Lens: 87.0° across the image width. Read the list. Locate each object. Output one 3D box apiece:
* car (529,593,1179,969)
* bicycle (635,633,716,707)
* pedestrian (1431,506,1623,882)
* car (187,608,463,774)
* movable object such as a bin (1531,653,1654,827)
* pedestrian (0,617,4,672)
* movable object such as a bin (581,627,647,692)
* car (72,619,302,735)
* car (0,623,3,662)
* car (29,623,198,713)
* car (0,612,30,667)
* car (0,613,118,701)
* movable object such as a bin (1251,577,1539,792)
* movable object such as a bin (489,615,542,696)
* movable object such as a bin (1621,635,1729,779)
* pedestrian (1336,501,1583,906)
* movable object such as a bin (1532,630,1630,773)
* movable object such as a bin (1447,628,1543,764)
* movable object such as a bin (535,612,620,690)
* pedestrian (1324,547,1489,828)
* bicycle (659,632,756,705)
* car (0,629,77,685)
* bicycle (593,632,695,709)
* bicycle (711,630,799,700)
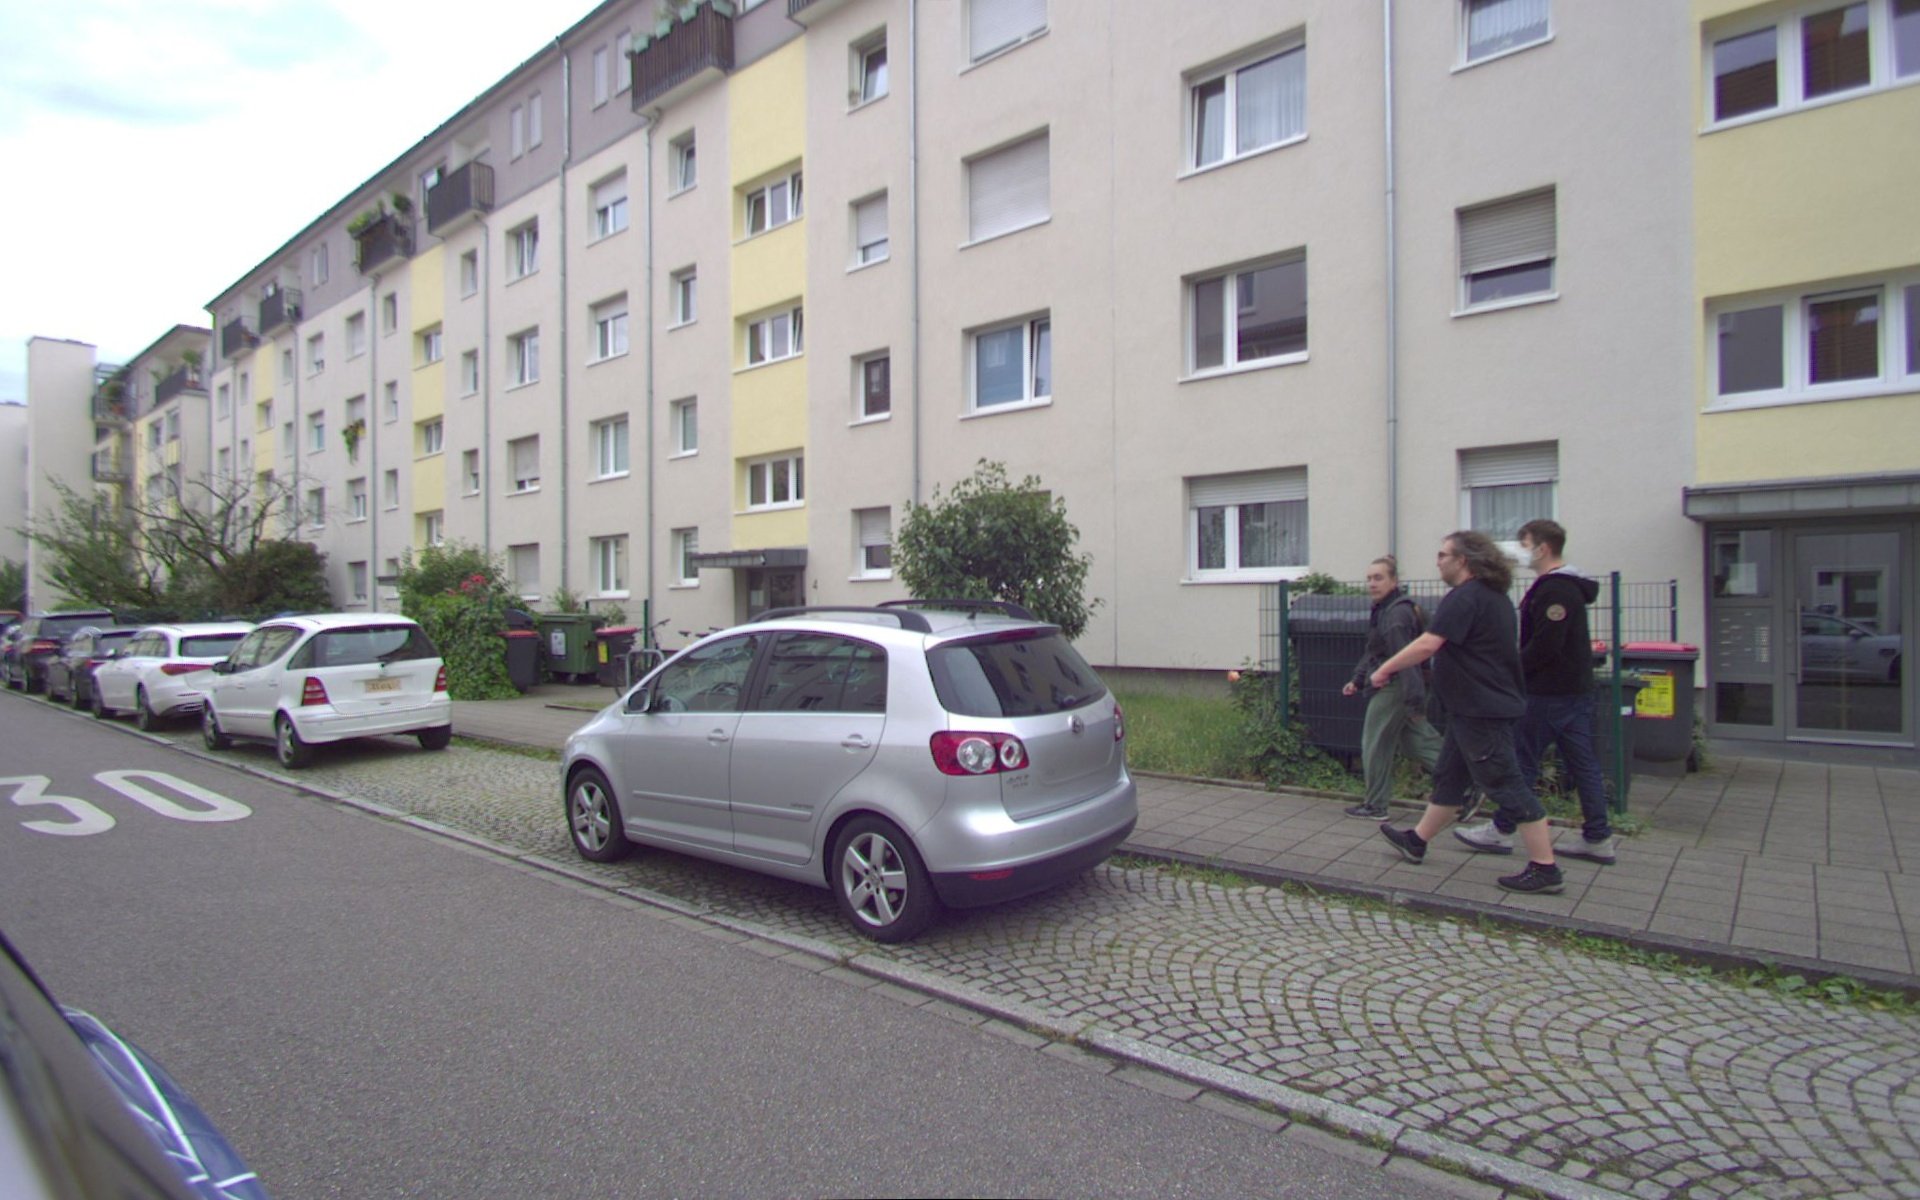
[{"bbox_3d":[-0.840,0.800,6.140,3.911,1.562,1.637,-2,0,40],"label":"car"},{"bbox_3d":[-4.164,1.001,14.777,1.496,1.032,0.352,-2,-1,40],"label":"bicycle"},{"bbox_3d":[3.108,0.473,5.549,0.763,1.868,0.699,-2,-2,40],"label":"pedestrian"},{"bbox_3d":[-7.547,0.945,11.910,3.724,1.651,1.668,-2,-1,39],"label":"car"},{"bbox_3d":[4.138,0.878,6.616,0.597,1.041,0.531,-2,-2,39],"label":"movable object such as a bin"},{"bbox_3d":[-29.811,1.368,31.046,0.621,1.679,0.596,-2,-1,38],"label":"pedestrian"},{"bbox_3d":[-6.336,1.074,18.542,0.786,1.117,0.861,0,0,36],"label":"movable object such as a bin"},{"bbox_3d":[-11.923,1.099,15.502,4.681,1.521,1.702,-2,-2,38],"label":"car"},{"bbox_3d":[-37.941,1.631,38.538,3.537,1.455,1.686,-2,-2,38],"label":"car"},{"bbox_3d":[-15.854,1.178,18.873,4.480,1.464,1.707,-1,-1,41],"label":"car"},{"bbox_3d":[-33.241,1.351,34.527,3.537,1.820,1.686,-2,-2,38],"label":"car"},{"bbox_3d":[-20.454,1.231,22.766,4.448,1.793,1.555,-2,-2,40],"label":"car"},{"bbox_3d":[3.395,0.581,7.881,1.670,1.432,1.573,-2,-1,40],"label":"movable object such as a bin"},{"bbox_3d":[-7.769,0.954,17.703,0.587,1.378,0.651,0,0,36],"label":"movable object such as a bin"},{"bbox_3d":[5.748,0.822,8.130,0.633,1.059,0.855,-2,-2,39],"label":"movable object such as a bin"},{"bbox_3d":[2.581,0.480,5.248,0.973,1.877,0.633,-2,0,41],"label":"pedestrian"},{"bbox_3d":[5.282,0.824,8.593,0.597,1.125,0.834,-2,-2,38],"label":"movable object such as a bin"},{"bbox_3d":[4.766,0.824,9.011,0.597,1.125,0.834,-2,-2,38],"label":"movable object such as a bin"},{"bbox_3d":[-7.233,0.942,19.138,1.187,1.385,1.047,0,0,36],"label":"movable object such as a bin"},{"bbox_3d":[2.873,0.530,6.523,0.802,1.669,0.608,-2,-2,41],"label":"pedestrian"},{"bbox_3d":[-3.784,0.996,15.097,1.753,1.032,0.473,-2,-1,40],"label":"bicycle"},{"bbox_3d":[-25.398,1.510,27.454,3.537,1.407,1.556,-2,-2,38],"label":"car"},{"bbox_3d":[-4.547,0.983,14.482,1.877,1.032,0.483,-2,-1,41],"label":"bicycle"},{"bbox_3d":[-3.201,0.988,15.751,1.557,1.032,0.416,-2,-1,38],"label":"bicycle"}]
